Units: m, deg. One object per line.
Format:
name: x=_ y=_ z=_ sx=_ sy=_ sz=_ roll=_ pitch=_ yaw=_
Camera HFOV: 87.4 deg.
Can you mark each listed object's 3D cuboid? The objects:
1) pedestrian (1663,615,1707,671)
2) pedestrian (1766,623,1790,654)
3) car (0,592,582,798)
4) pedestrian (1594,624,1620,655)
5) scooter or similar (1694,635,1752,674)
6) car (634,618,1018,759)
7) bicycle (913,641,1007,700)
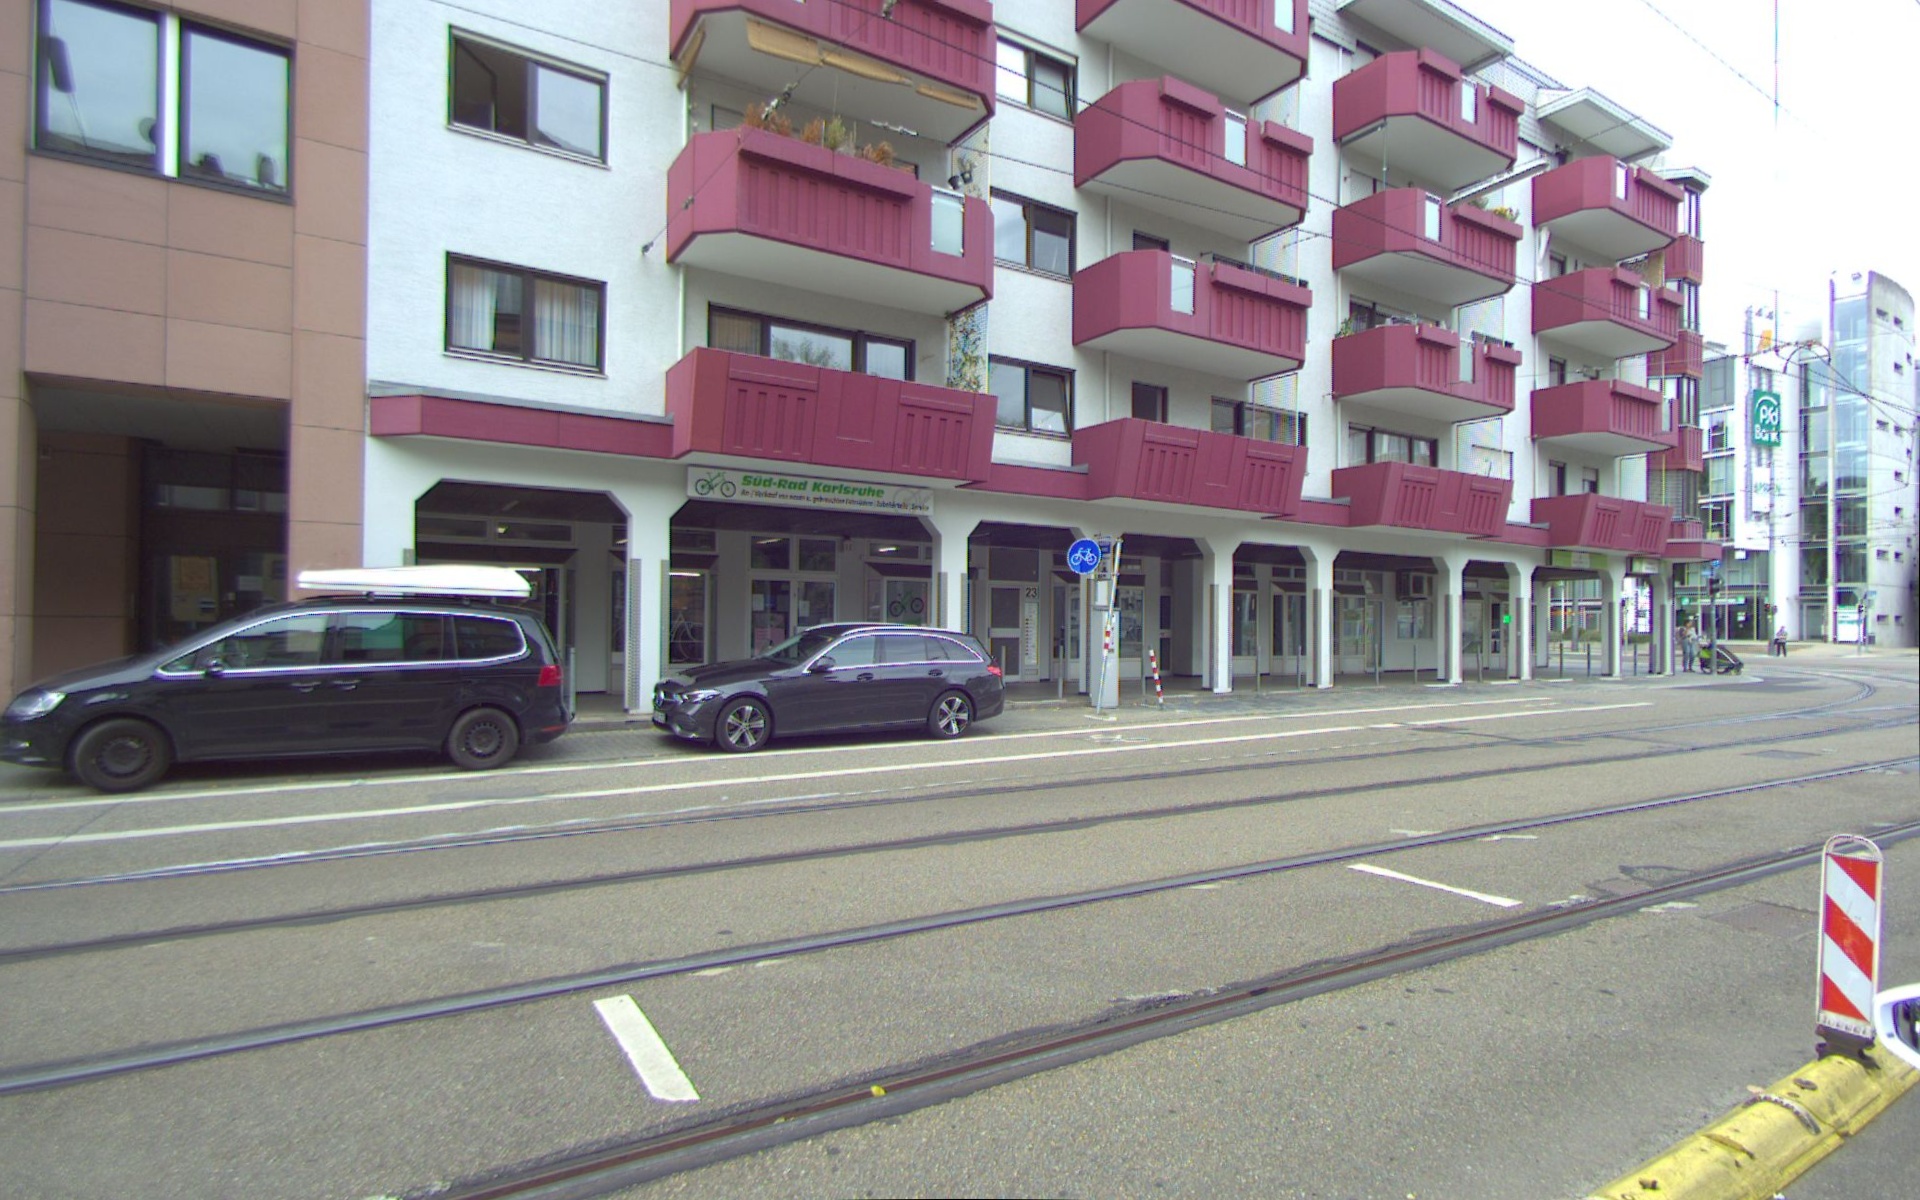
pedestrian: x=23.338 y=1.383 z=32.350 sx=0.803 sy=1.766 sz=0.942 roll=1 pitch=-1 yaw=-33
pedestrian: x=49.436 y=2.311 z=60.725 sx=0.754 sy=1.889 sz=0.833 roll=1 pitch=-1 yaw=-17
car: x=-6.472 y=0.817 z=10.239 sx=4.645 sy=1.669 sz=1.797 roll=1 pitch=1 yaw=-32
pedestrian: x=36.078 y=2.186 z=56.017 sx=0.753 sy=1.693 sz=0.935 roll=1 pitch=-1 yaw=-17
scooter or similar: x=23.907 y=1.686 z=31.482 sx=0.936 sy=1.143 sz=1.189 roll=1 pitch=0 yaw=-32
car: x=-1.650 y=1.028 z=13.051 sx=4.645 sy=1.500 sz=1.745 roll=1 pitch=1 yaw=-32
bicycle: x=0.019 y=1.193 z=17.333 sx=1.636 sy=0.966 sz=0.560 roll=1 pitch=-1 yaw=-39
